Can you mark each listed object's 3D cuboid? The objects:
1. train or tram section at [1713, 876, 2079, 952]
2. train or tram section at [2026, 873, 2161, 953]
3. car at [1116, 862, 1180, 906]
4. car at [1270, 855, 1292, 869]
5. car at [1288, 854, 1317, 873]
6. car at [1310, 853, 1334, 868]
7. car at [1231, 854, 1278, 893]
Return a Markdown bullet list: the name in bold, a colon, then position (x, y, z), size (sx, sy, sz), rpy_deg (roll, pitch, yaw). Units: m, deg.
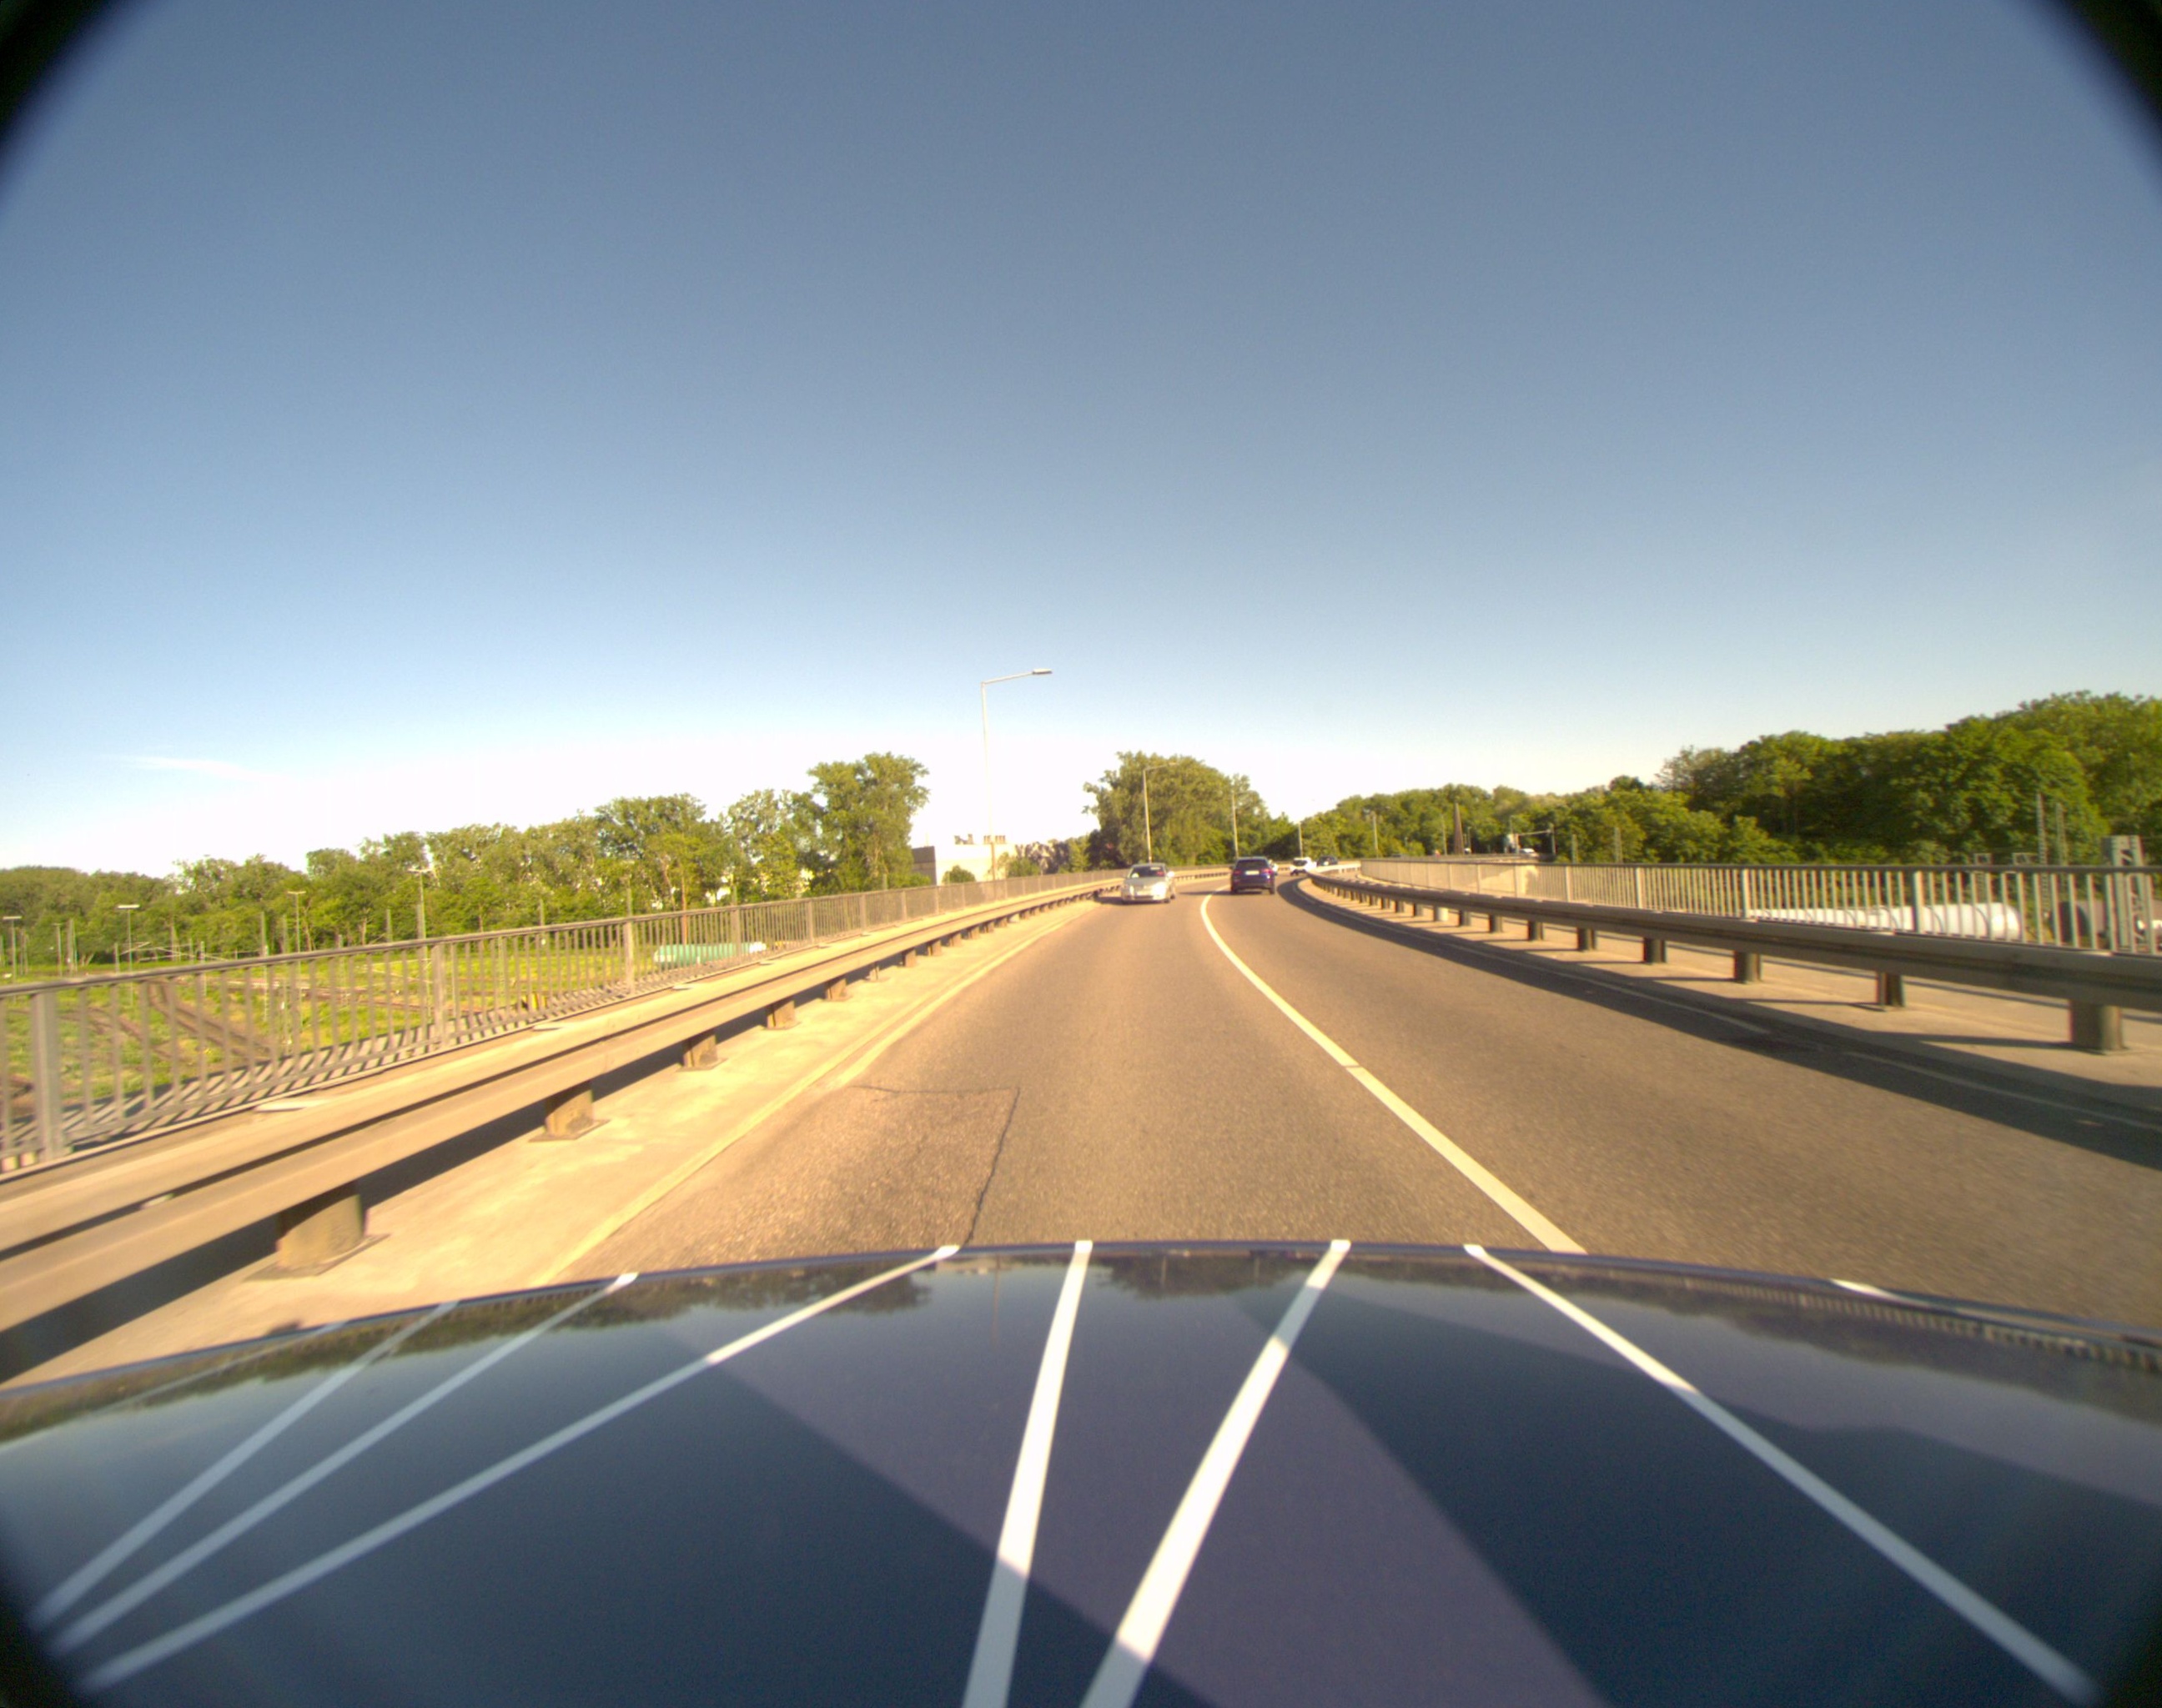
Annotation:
- **train or tram section**: position (53.764, 3.967, 51.191), size (16.732, 4.564, 3.912), rpy_deg (-2, 0, 21)
- **train or tram section**: position (69.205, 3.444, 45.326), size (16.276, 4.564, 3.912), rpy_deg (-2, 0, 21)
- **car**: position (2.599, 1.059, 28.409), size (1.762, 1.428, 4.334), rpy_deg (-2, 0, 13)
- **car**: position (22.145, 0.895, 84.103), size (1.990, 1.465, 4.136), rpy_deg (-2, 0, 20)
- **car**: position (18.781, 0.806, 64.273), size (1.838, 1.510, 3.776), rpy_deg (-2, 0, 24)
- **car**: position (27.687, 0.712, 87.108), size (1.918, 1.608, 3.749), rpy_deg (-2, 0, 29)
- **car**: position (7.472, 0.805, 32.705), size (1.826, 1.543, 4.189), rpy_deg (-2, 0, 13)
